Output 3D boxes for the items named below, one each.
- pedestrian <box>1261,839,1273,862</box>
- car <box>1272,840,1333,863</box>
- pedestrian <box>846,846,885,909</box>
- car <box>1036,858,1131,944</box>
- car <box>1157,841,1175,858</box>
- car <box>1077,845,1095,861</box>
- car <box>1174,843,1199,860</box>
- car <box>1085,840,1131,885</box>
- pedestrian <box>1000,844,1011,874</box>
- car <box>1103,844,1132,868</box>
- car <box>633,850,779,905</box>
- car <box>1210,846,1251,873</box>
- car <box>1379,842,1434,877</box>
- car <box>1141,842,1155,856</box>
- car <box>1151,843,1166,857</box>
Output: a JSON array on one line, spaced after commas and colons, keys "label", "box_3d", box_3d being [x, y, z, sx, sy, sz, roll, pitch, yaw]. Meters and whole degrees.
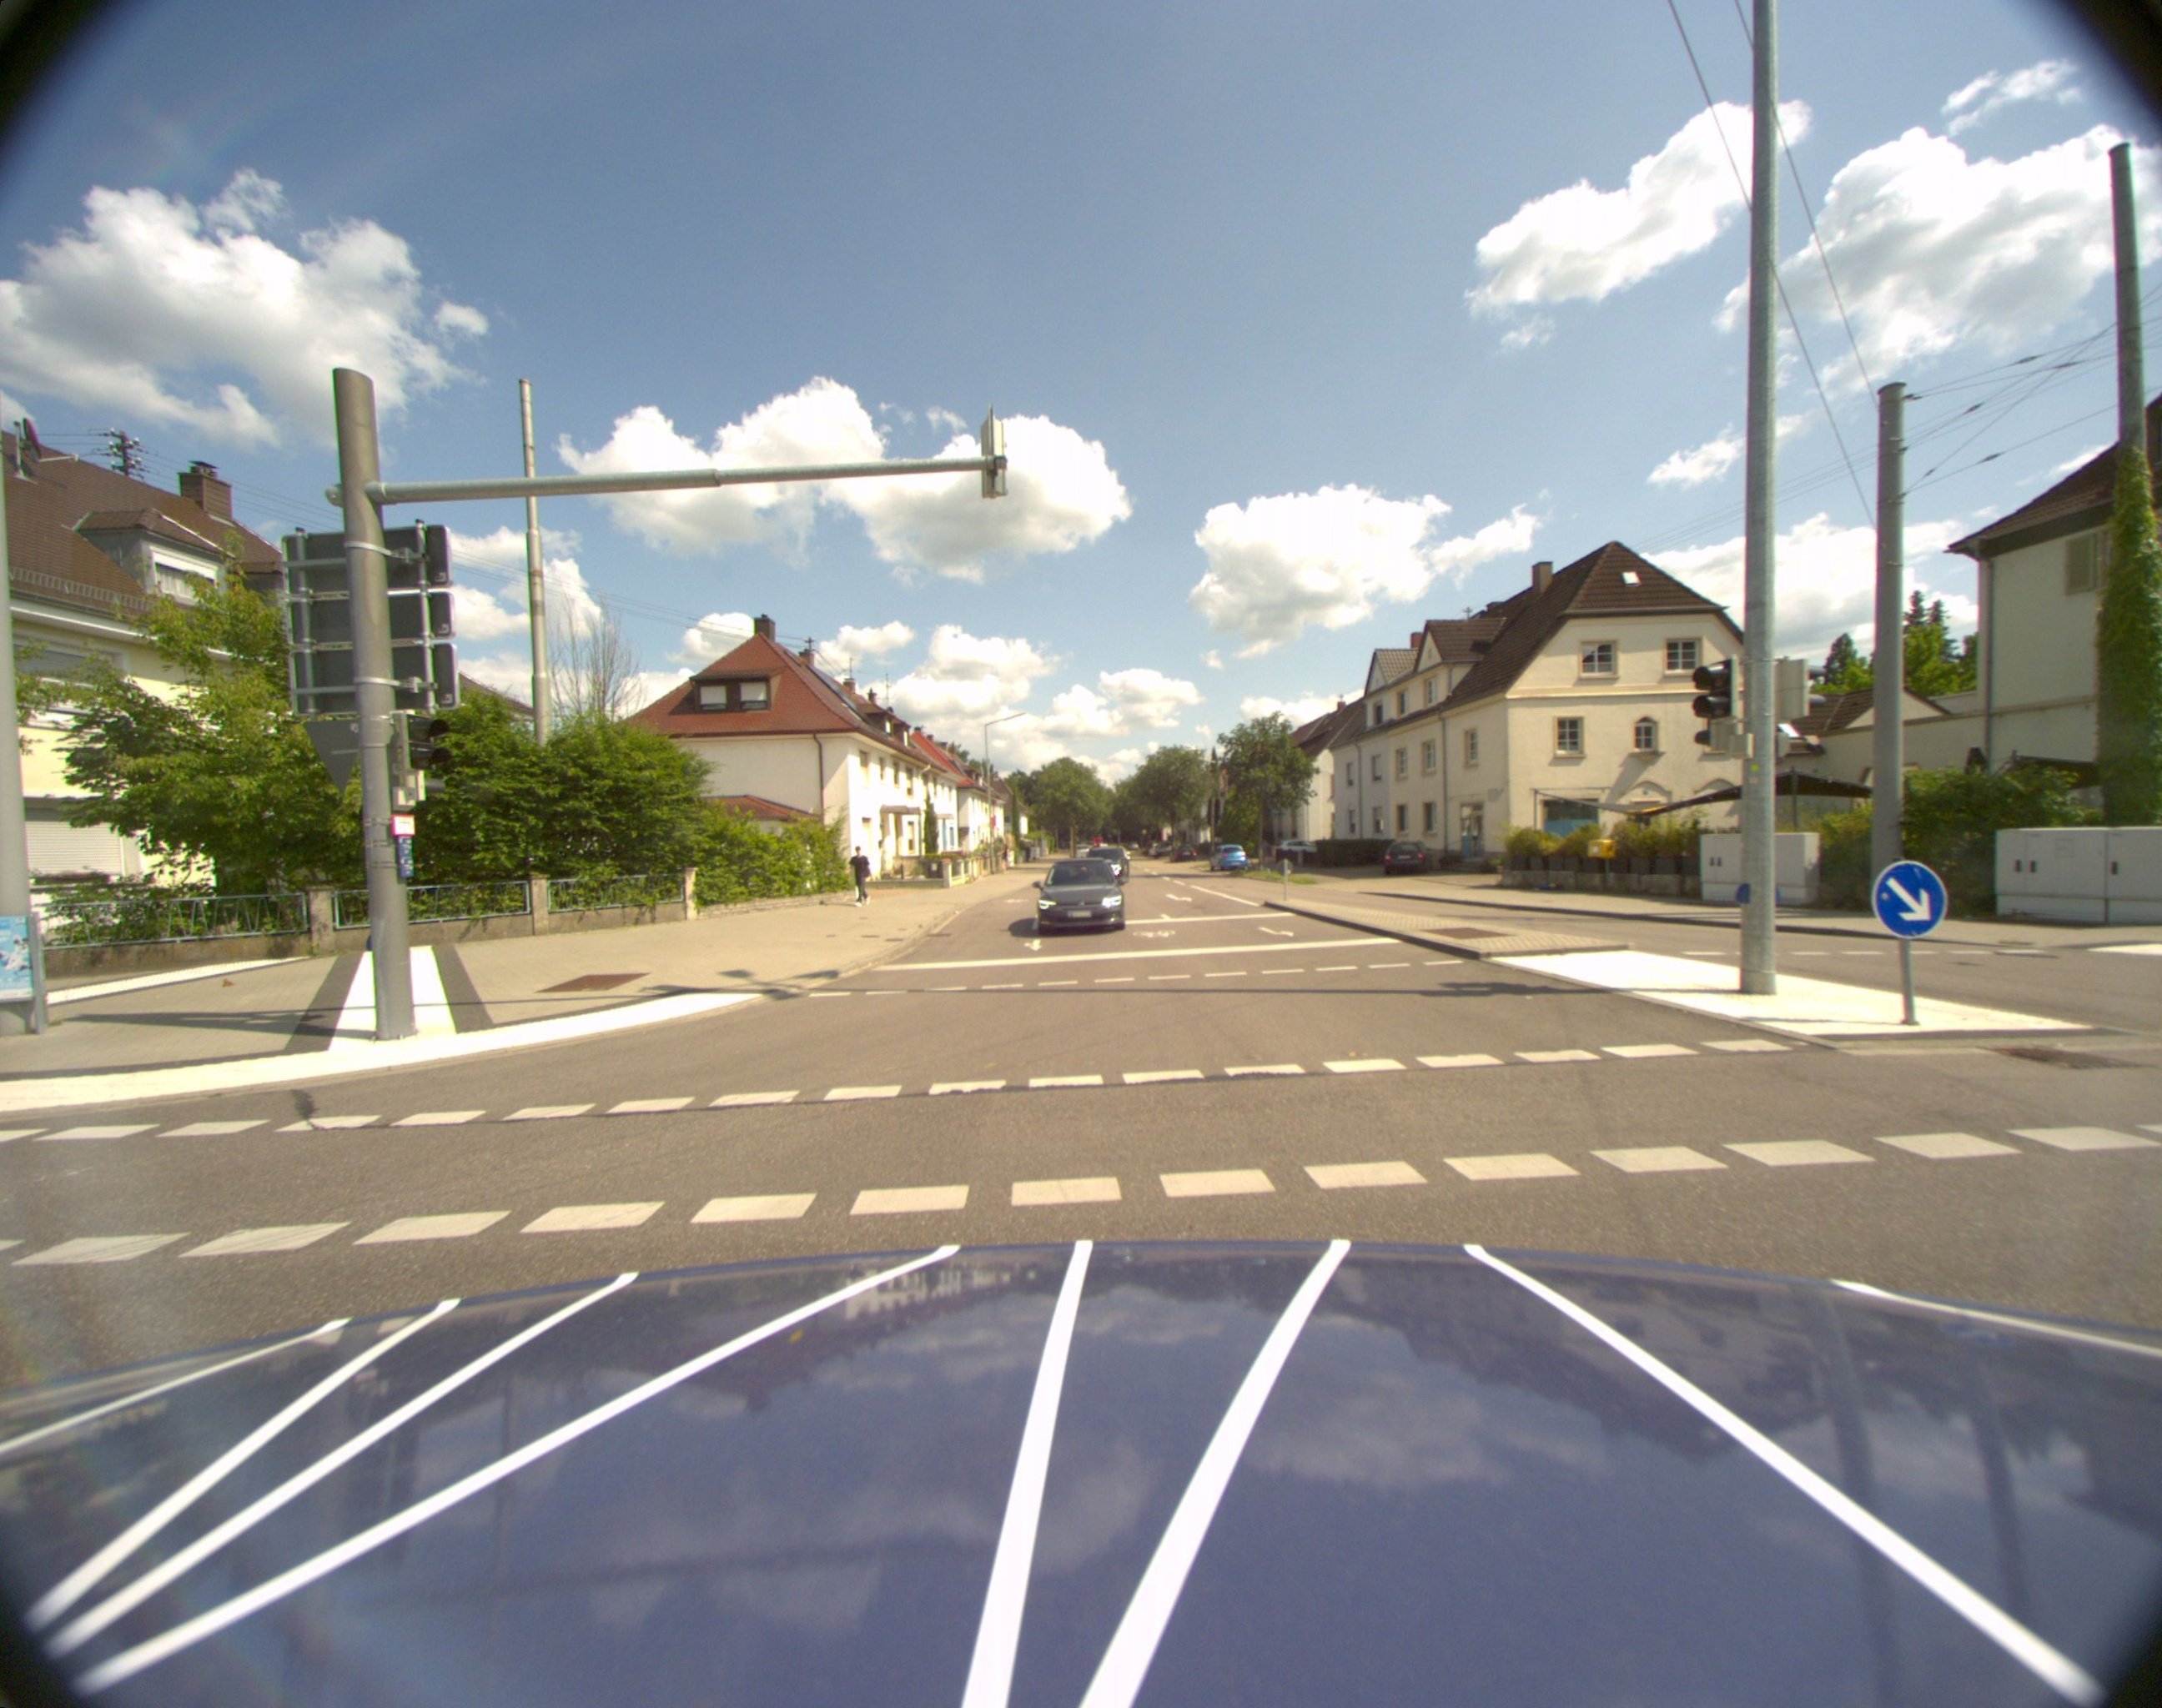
[{"label": "pedestrian", "box_3d": [12.527, -0.229, 51.117, 0.632, 1.527, 0.618, -1, 2, 1]}, {"label": "car", "box_3d": [15.461, -0.193, 53.255, 3.805, 1.446, 1.711, -1, 1, 3]}, {"label": "pedestrian", "box_3d": [-6.129, 0.649, 21.660, 0.591, 1.758, 0.938, 0, 2, 18]}, {"label": "car", "box_3d": [-0.037, 0.907, 16.699, 1.767, 1.466, 4.685, -1, 1, -2]}, {"label": "car", "box_3d": [8.516, -0.473, 75.955, 1.562, 1.645, 3.573, -1, 1, 3]}, {"label": "car", "box_3d": [0.501, -0.120, 72.325, 1.381, 1.493, 3.002, -2, 1, 5]}, {"label": "car", "box_3d": [8.542, -0.192, 61.833, 1.709, 1.289, 3.918, -1, 1, 3]}, {"label": "car", "box_3d": [1.105, 0.310, 33.128, 1.776, 1.754, 4.873, -1, 1, 0]}, {"label": "pedestrian", "box_3d": [-4.361, 0.269, 44.134, 0.519, 1.701, 0.618, -1, 2, 1]}, {"label": "car", "box_3d": [2.305, 0.106, 48.454, 1.709, 1.454, 3.154, -1, 1, 0]}, {"label": "car", "box_3d": [-12.757, 0.786, 26.002, 3.996, 1.698, 1.868, -1, 1, 2]}, {"label": "car", "box_3d": [8.640, 0.270, 44.189, 1.709, 1.454, 3.154, -1, 1, 0]}, {"label": "car", "box_3d": [14.478, 0.223, 33.649, 1.757, 1.378, 4.109, -1, 1, 30]}, {"label": "car", "box_3d": [7.977, -0.606, 91.015, 1.562, 1.645, 3.251, -1, 1, 3]}, {"label": "car", "box_3d": [8.355, -0.462, 81.981, 1.623, 1.417, 3.002, -2, 1, 5]}]
